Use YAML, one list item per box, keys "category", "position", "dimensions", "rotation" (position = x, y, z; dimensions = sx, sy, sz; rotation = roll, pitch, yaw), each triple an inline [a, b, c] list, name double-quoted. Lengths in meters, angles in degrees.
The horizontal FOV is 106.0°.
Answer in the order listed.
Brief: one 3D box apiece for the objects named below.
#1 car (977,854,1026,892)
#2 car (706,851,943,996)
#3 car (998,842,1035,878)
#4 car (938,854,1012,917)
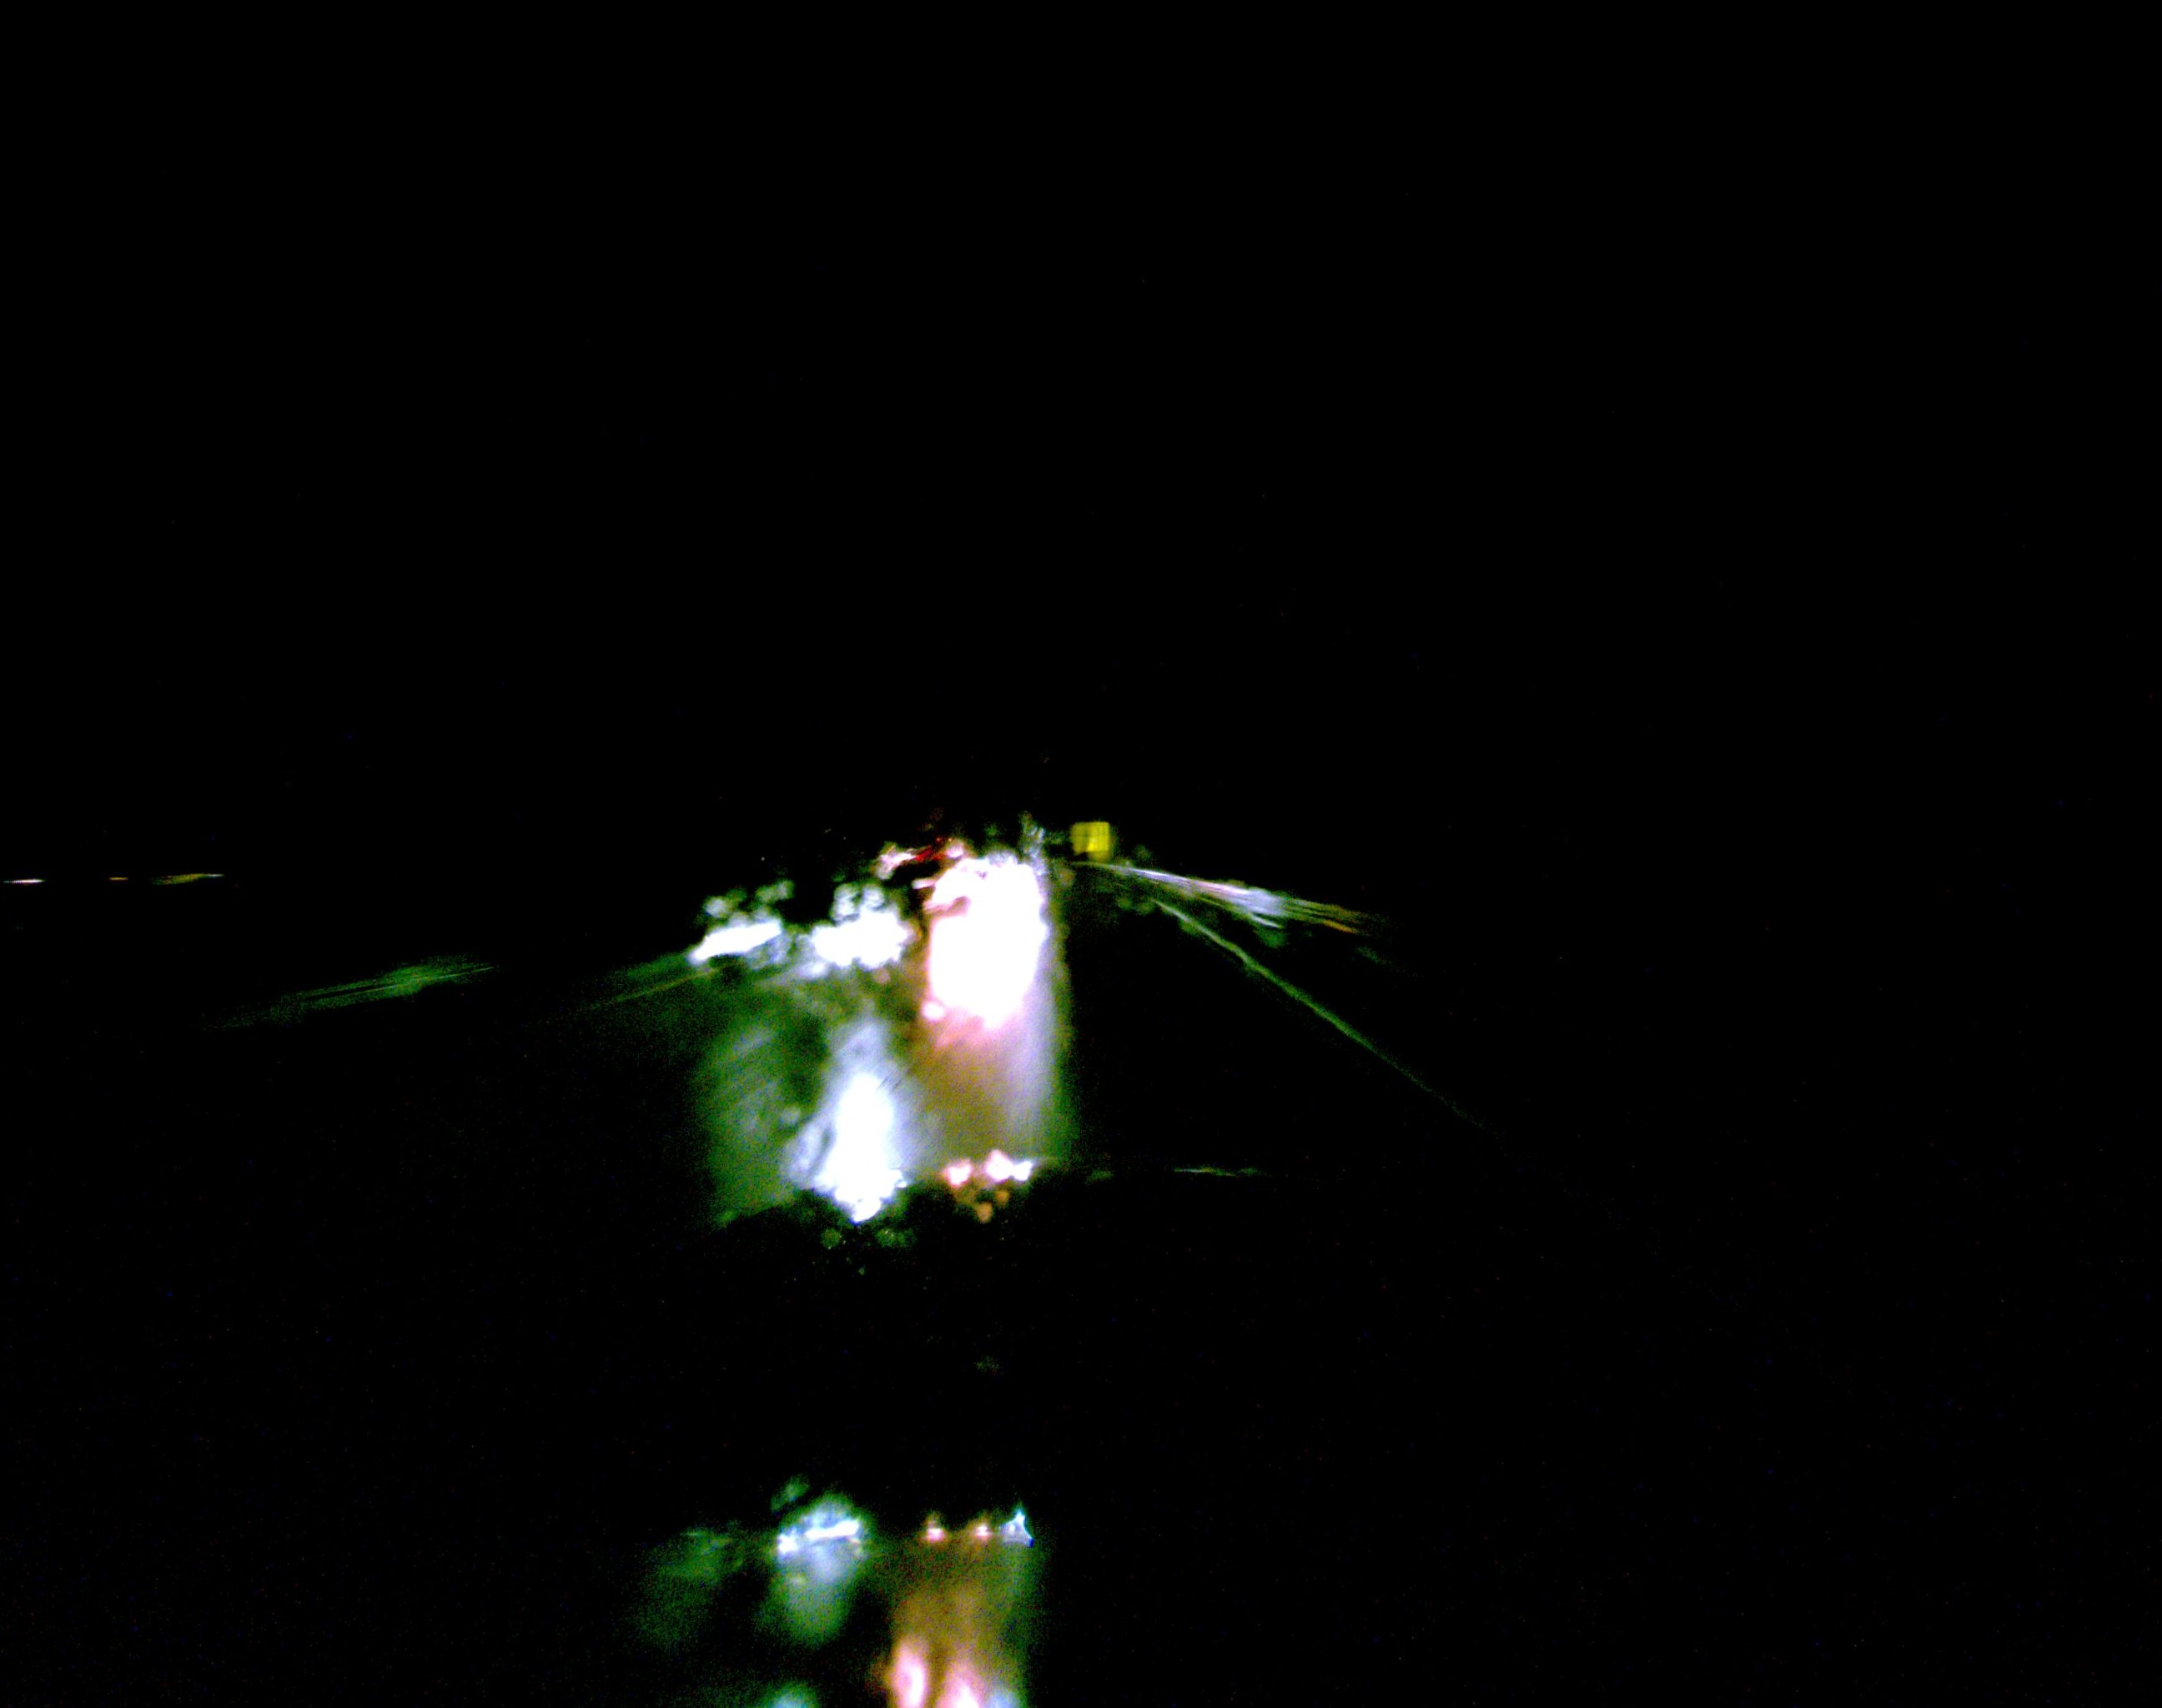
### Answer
- category: "car"
  position: [-3.447, 0.818, 36.213]
  dimensions: [1.794, 1.520, 4.532]
  rotation: [-2, 0, -2]
- category: "car"
  position: [-3.178, 0.773, 11.057]
  dimensions: [1.811, 1.559, 4.178]
  rotation: [-1, 0, 1]
- category: "car"
  position: [-3.905, 0.354, 50.098]
  dimensions: [1.988, 2.075, 3.998]
  rotation: [-1, 0, -1]
- category: "car"
  position: [-3.053, 0.869, 24.045]
  dimensions: [1.683, 1.680, 3.466]
  rotation: [-2, 0, -1]
